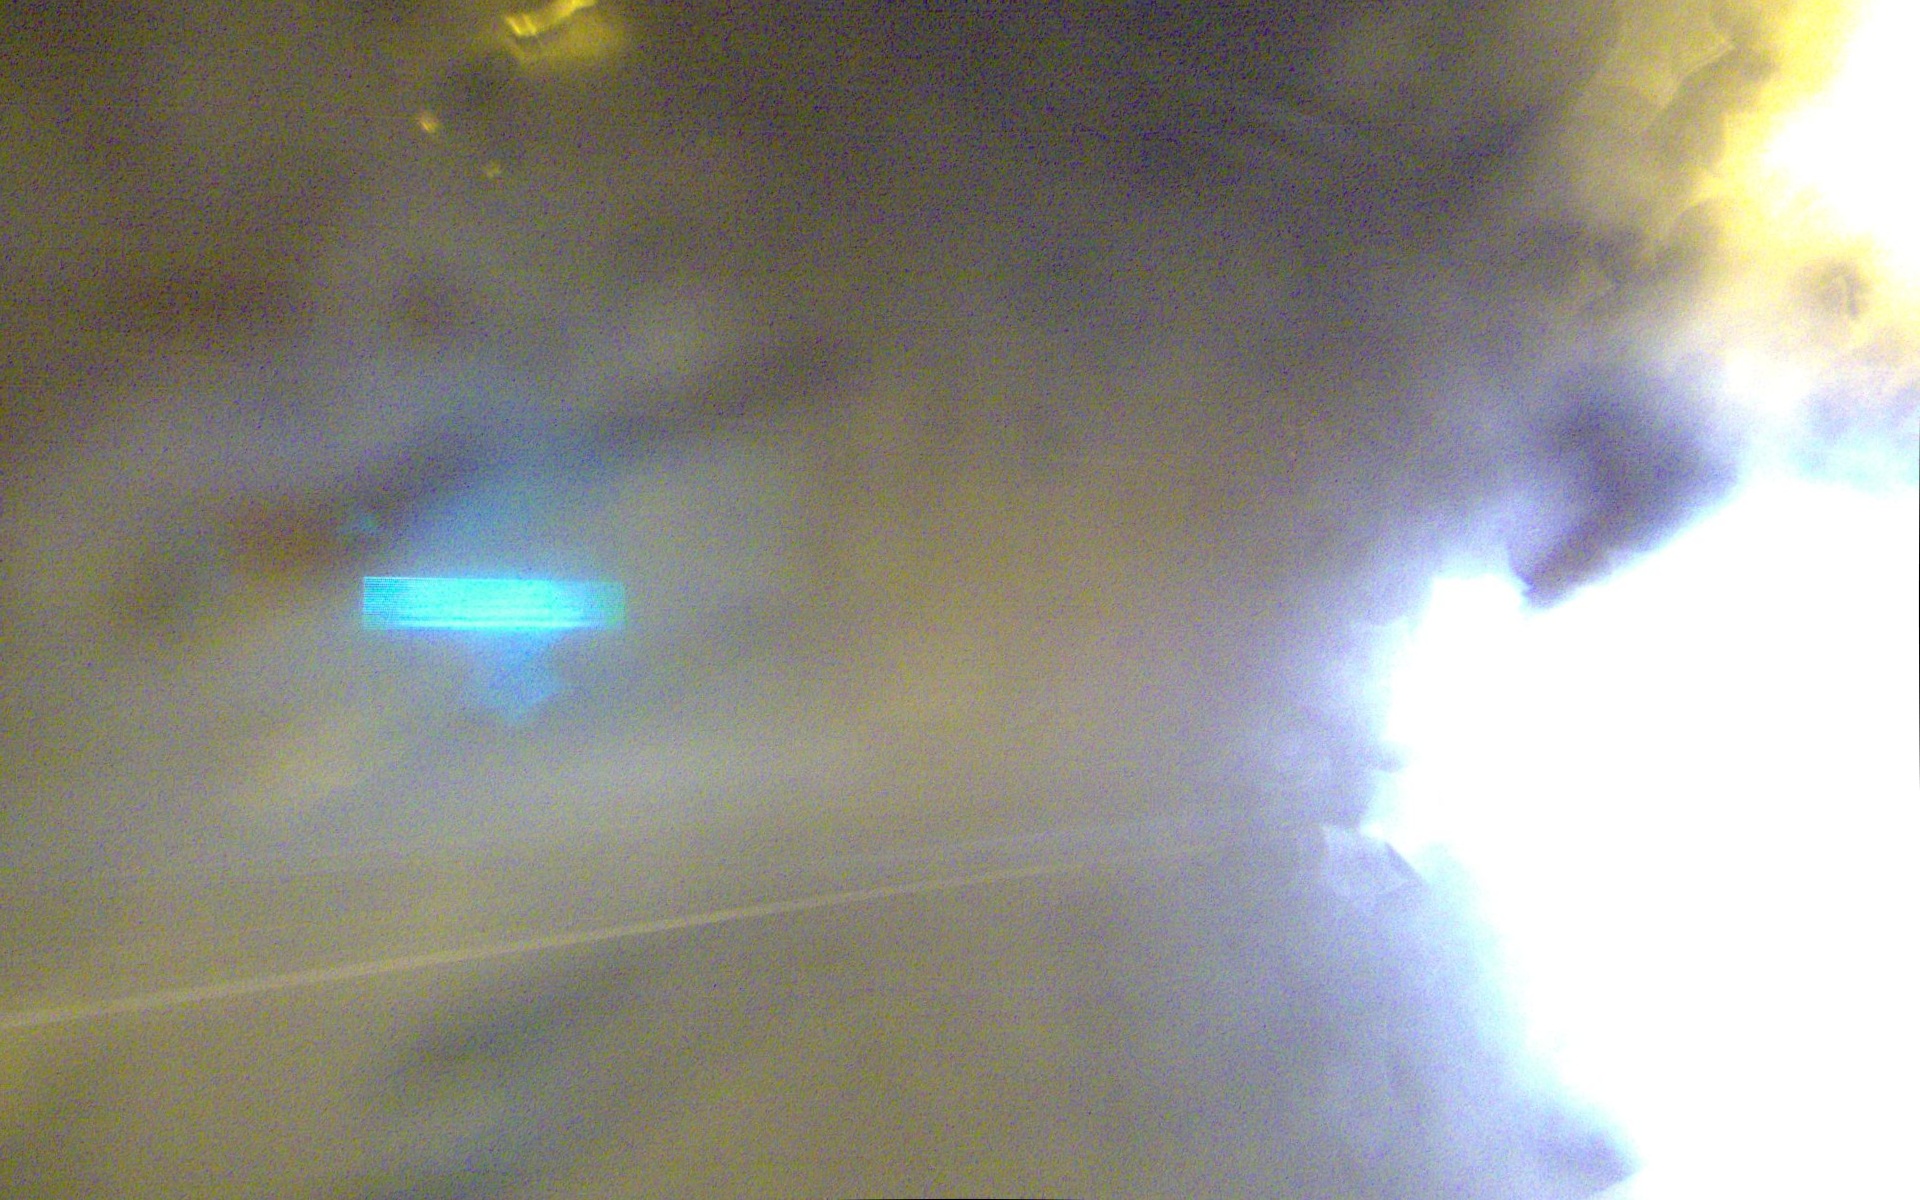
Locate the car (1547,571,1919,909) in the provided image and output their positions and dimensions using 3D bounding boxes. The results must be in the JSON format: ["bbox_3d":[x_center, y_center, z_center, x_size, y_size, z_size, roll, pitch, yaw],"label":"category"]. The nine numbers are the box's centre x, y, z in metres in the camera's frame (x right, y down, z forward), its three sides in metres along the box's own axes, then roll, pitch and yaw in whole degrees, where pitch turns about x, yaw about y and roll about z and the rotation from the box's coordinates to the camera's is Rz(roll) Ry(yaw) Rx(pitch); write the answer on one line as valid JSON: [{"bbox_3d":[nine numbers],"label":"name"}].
[{"bbox_3d":[6.182,0.757,7.053,3.955,1.751,1.904,1,0,-31],"label":"car"}]
